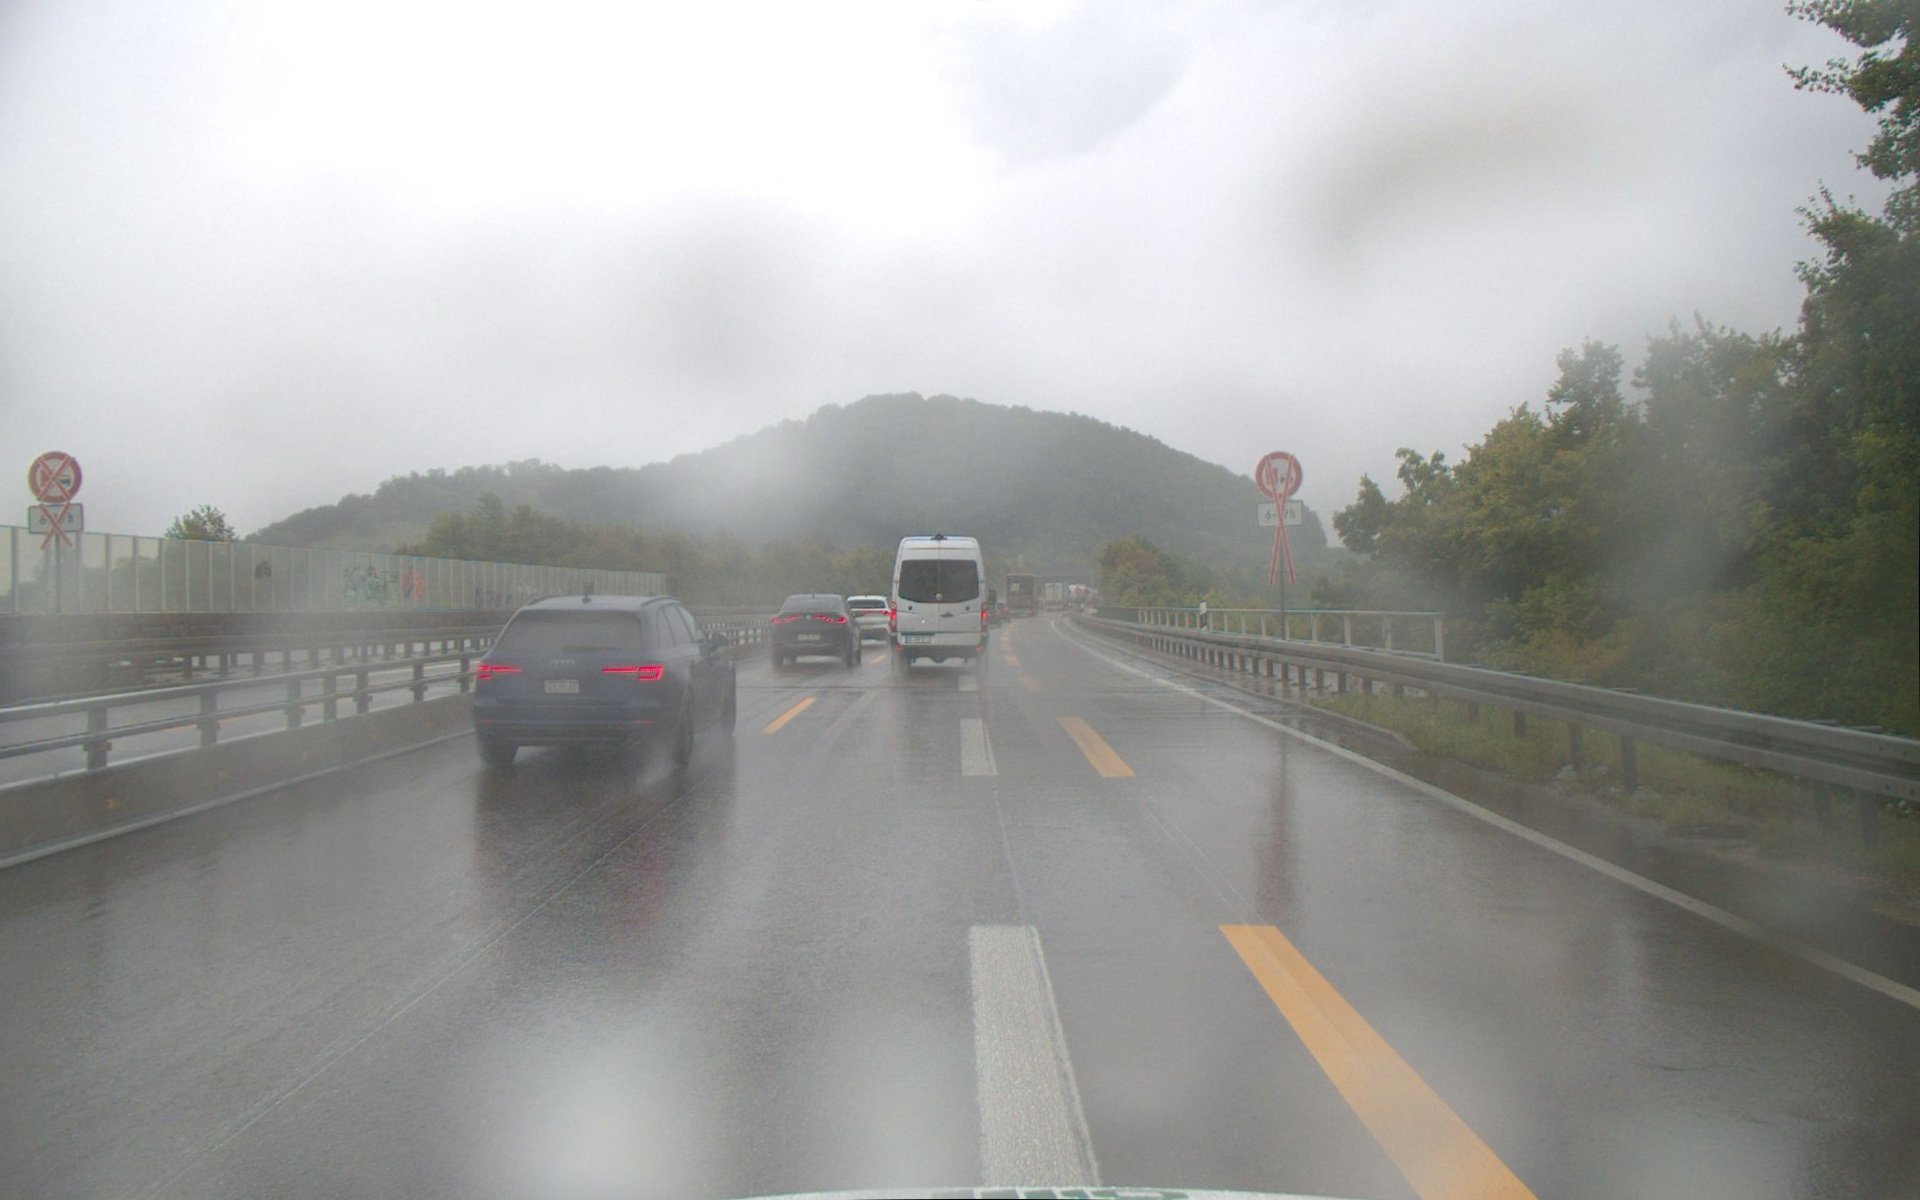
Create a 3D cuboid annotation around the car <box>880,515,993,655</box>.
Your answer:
[{"bbox_3d":[-0.458,-0.263,34.157,2.101,2.616,5.389,1,-1,0],"label":"car"}]

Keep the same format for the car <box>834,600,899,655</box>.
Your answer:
[{"bbox_3d":[-3.018,0.872,53.355,1.954,1.646,4.793,1,-1,-3],"label":"car"}]

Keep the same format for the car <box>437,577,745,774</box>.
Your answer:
[{"bbox_3d":[-3.198,0.613,15.325,1.953,1.524,4.628,1,-1,-2],"label":"car"}]

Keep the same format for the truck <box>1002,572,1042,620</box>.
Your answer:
[{"bbox_3d":[6.092,-0.347,160.517,3.506,4.483,9.628,1,-1,4],"label":"truck"}]

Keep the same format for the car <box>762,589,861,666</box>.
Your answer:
[{"bbox_3d":[-3.270,0.601,37.201,1.953,1.613,4.411,1,-1,-2],"label":"car"}]

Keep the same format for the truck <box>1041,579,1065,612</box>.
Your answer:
[{"bbox_3d":[13.117,-0.556,233.085,2.972,4.483,9.629,1,-1,6],"label":"truck"}]

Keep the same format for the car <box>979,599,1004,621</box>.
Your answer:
[{"bbox_3d":[2.264,0.714,118.054,1.737,1.501,4.001,1,-1,2],"label":"car"}]

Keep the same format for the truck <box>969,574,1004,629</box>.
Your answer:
[{"bbox_3d":[1.570,0.124,98.952,1.952,3.163,8.498,1,-1,0],"label":"truck"}]
